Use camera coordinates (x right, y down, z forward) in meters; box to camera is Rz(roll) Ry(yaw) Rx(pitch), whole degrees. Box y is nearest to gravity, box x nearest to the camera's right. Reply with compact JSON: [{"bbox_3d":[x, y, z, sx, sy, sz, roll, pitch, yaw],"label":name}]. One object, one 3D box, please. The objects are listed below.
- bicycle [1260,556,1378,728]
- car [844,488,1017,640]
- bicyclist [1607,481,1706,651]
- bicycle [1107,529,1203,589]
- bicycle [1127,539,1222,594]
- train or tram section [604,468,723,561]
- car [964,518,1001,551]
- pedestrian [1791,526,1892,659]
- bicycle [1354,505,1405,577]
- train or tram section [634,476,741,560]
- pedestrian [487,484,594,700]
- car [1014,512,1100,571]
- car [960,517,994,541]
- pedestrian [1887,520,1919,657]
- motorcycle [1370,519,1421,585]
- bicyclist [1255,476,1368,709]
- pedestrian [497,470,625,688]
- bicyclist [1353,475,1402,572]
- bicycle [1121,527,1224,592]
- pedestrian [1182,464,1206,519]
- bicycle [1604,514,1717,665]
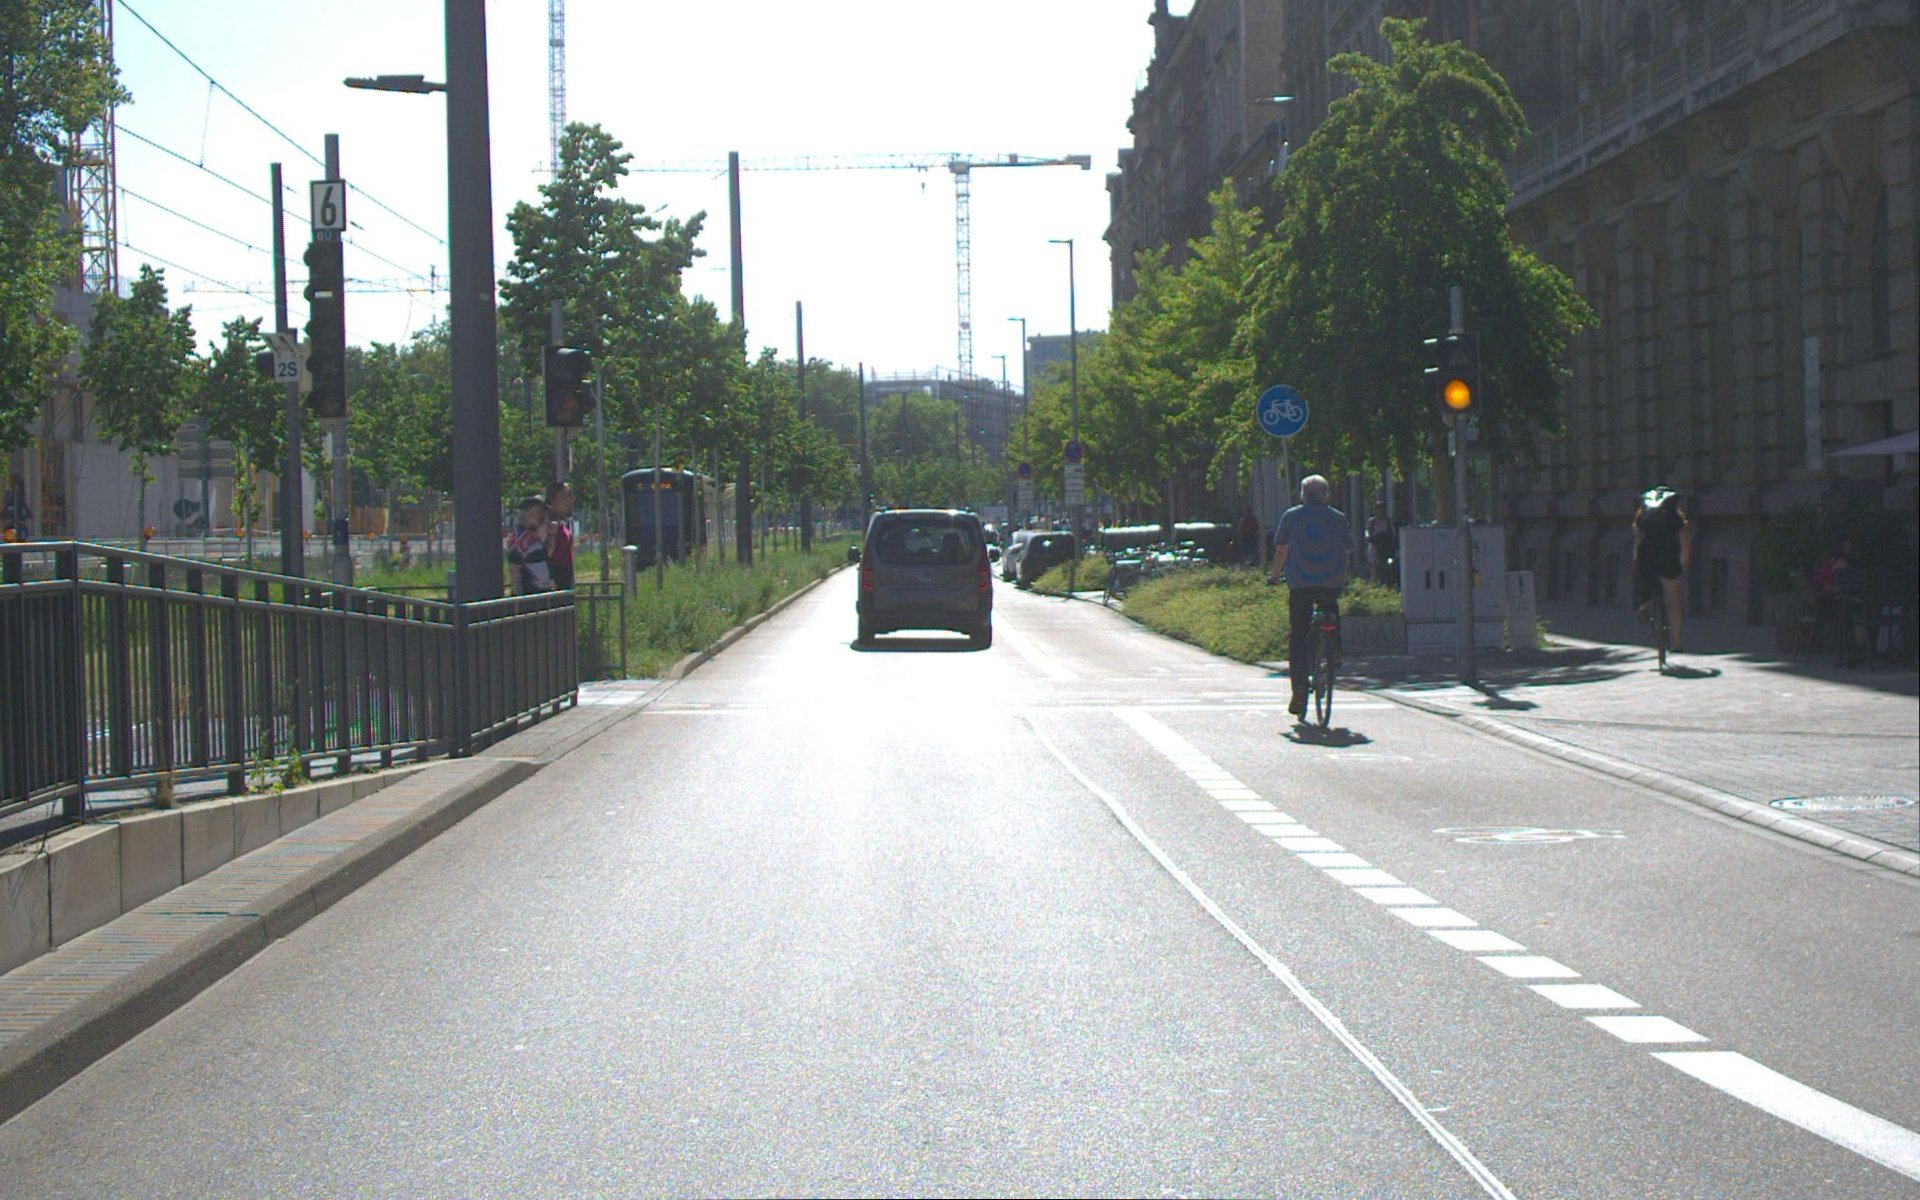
[{"bbox_3d":[2.605,0.283,25.098,0.601,1.177,1.869,1,1,-2],"label":"bicycle"},{"bbox_3d":[-0.433,-0.515,46.854,2.200,1.919,4.654,-2,1,-1],"label":"car"},{"bbox_3d":[6.556,-0.327,32.372,0.660,1.525,0.801,-5,1,2],"label":"bicyclist"},{"bbox_3d":[3.881,-0.814,68.463,1.792,1.027,0.527,-5,1,-1],"label":"bicycle"},{"bbox_3d":[4.192,-0.659,67.187,1.792,1.027,0.527,-2,1,-1],"label":"bicycle"},{"bbox_3d":[-9.068,-2.589,106.101,2.756,2.733,9.864,0,1,0],"label":"train or tram section"},{"bbox_3d":[1.239,-3.674,193.091,1.993,1.831,4.000,0,1,-1],"label":"car"},{"bbox_3d":[8.079,-0.076,31.519,0.706,1.174,0.635,-3,1,-1],"label":"pedestrian"},{"bbox_3d":[7.216,-1.026,59.184,0.583,1.218,1.900,-1,2,-1],"label":"bicycle"},{"bbox_3d":[-9.110,-2.710,115.948,2.756,2.733,9.864,0,1,0],"label":"train or tram section"},{"bbox_3d":[-3.533,-0.081,28.954,0.865,1.782,0.971,0,1,-7],"label":"pedestrian"},{"bbox_3d":[2.566,-1.571,91.865,2.028,1.493,4.654,-2,1,-1],"label":"car"},{"bbox_3d":[1.078,-4.625,222.995,2.028,1.493,4.331,-2,1,-1],"label":"car"},{"bbox_3d":[8.972,-0.121,31.537,0.706,1.232,0.635,-3,1,-1],"label":"pedestrian"},{"bbox_3d":[8.694,-0.970,68.739,0.700,1.263,1.982,-1,2,-1],"label":"motorcycle"},{"bbox_3d":[2.566,-0.067,25.181,0.684,1.667,0.922,1,1,-2],"label":"bicyclist"},{"bbox_3d":[-3.568,-0.194,30.753,1.075,1.902,0.653,-2,1,-7],"label":"pedestrian"},{"bbox_3d":[7.184,-1.314,59.142,0.666,1.633,0.960,-1,1,-1],"label":"bicyclist"},{"bbox_3d":[3.961,-0.760,64.077,1.792,1.027,0.527,-5,1,-1],"label":"bicycle"},{"bbox_3d":[6.907,-3.199,101.648,0.614,1.606,0.669,-1,1,-1],"label":"pedestrian"},{"bbox_3d":[6.596,-0.120,32.440,0.615,1.326,1.900,-5,2,2],"label":"bicycle"}]
